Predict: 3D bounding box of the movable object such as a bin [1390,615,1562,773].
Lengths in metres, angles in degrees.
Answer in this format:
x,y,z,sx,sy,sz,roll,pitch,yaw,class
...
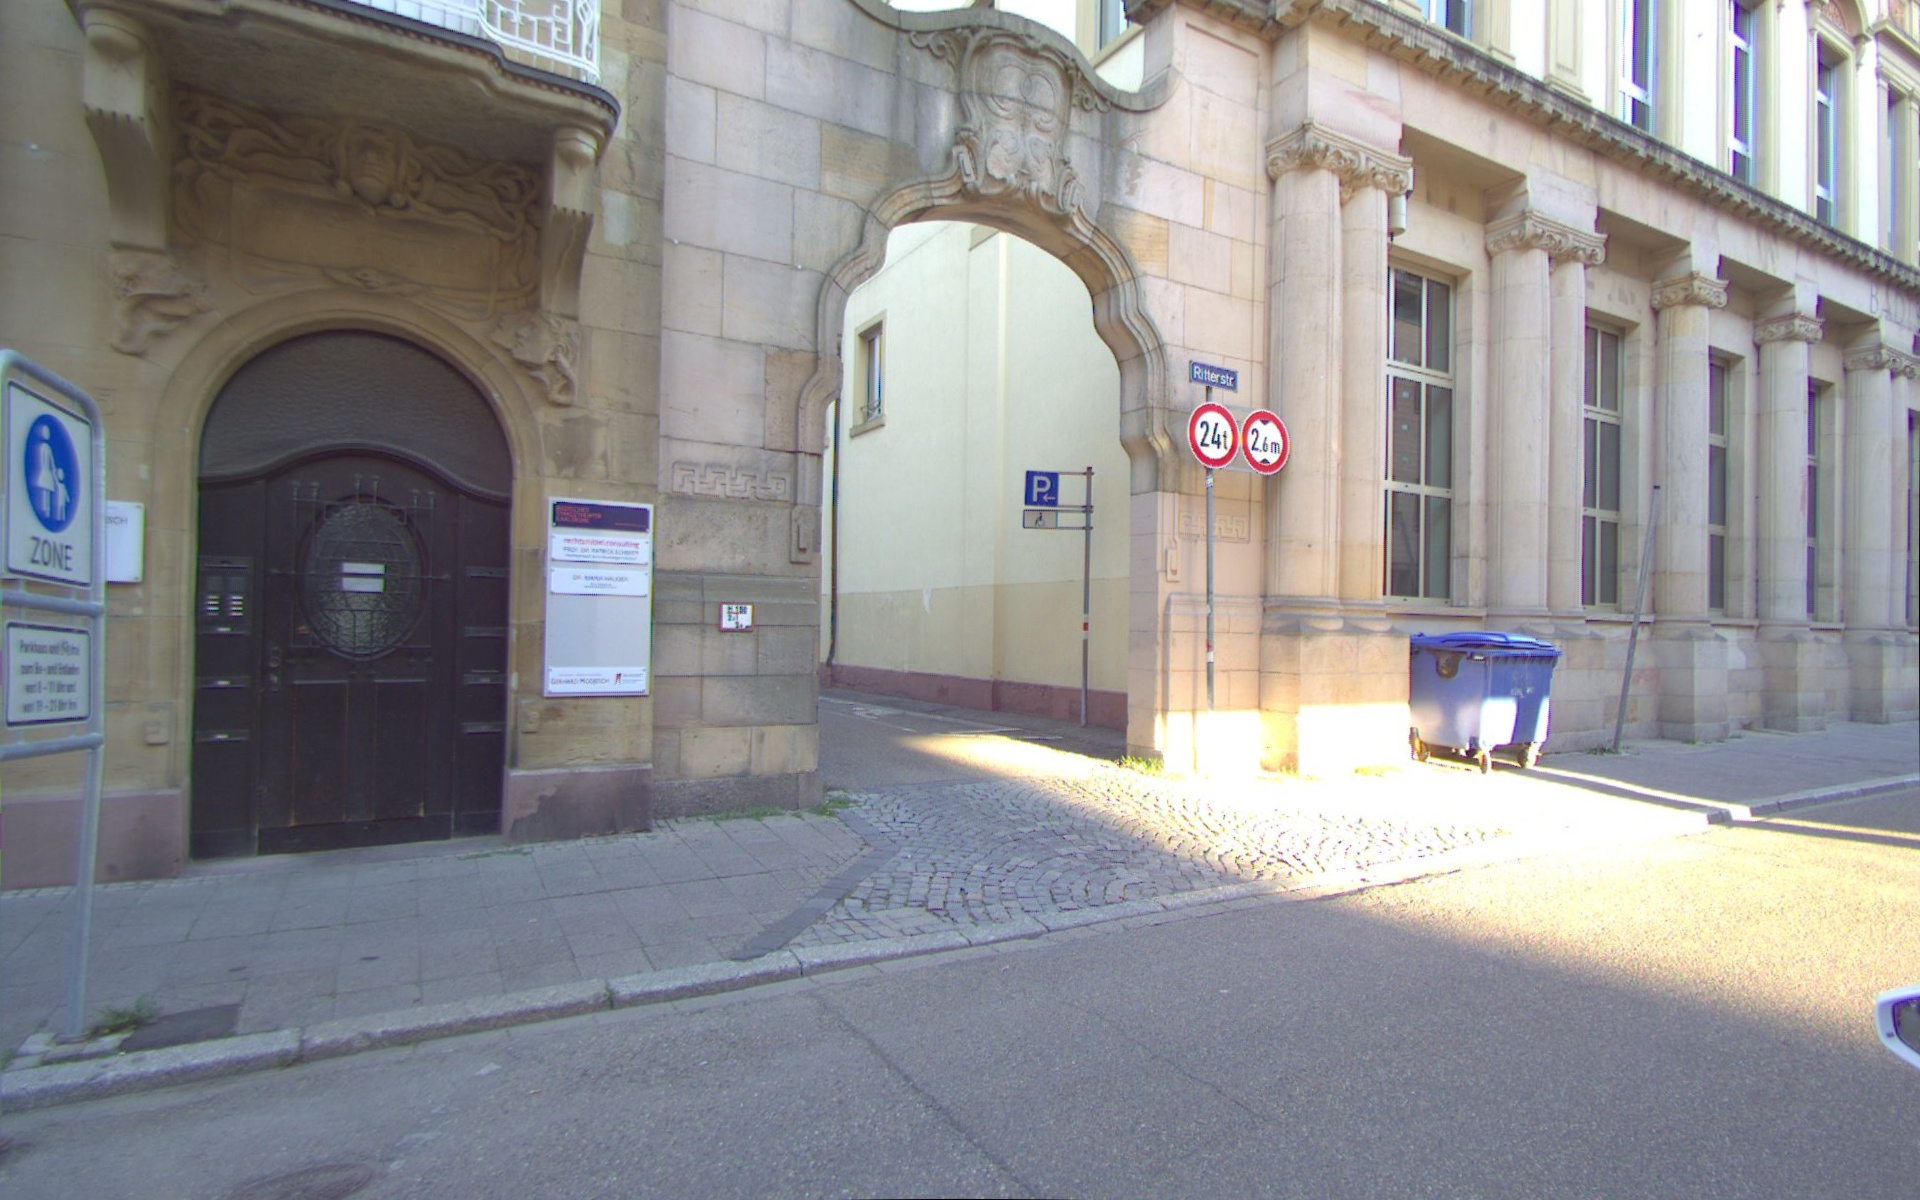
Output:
x,y,z,sx,sy,sz,roll,pitch,yaw,class
5.316,0.924,10.389,1.171,1.494,1.070,2,0,-26,movable object such as a bin

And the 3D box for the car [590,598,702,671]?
x,y,z,sx,sy,sz,roll,pitch,yaw,class
-8.747,0.927,27.796,1.842,1.778,4.125,6,-3,-32,car
